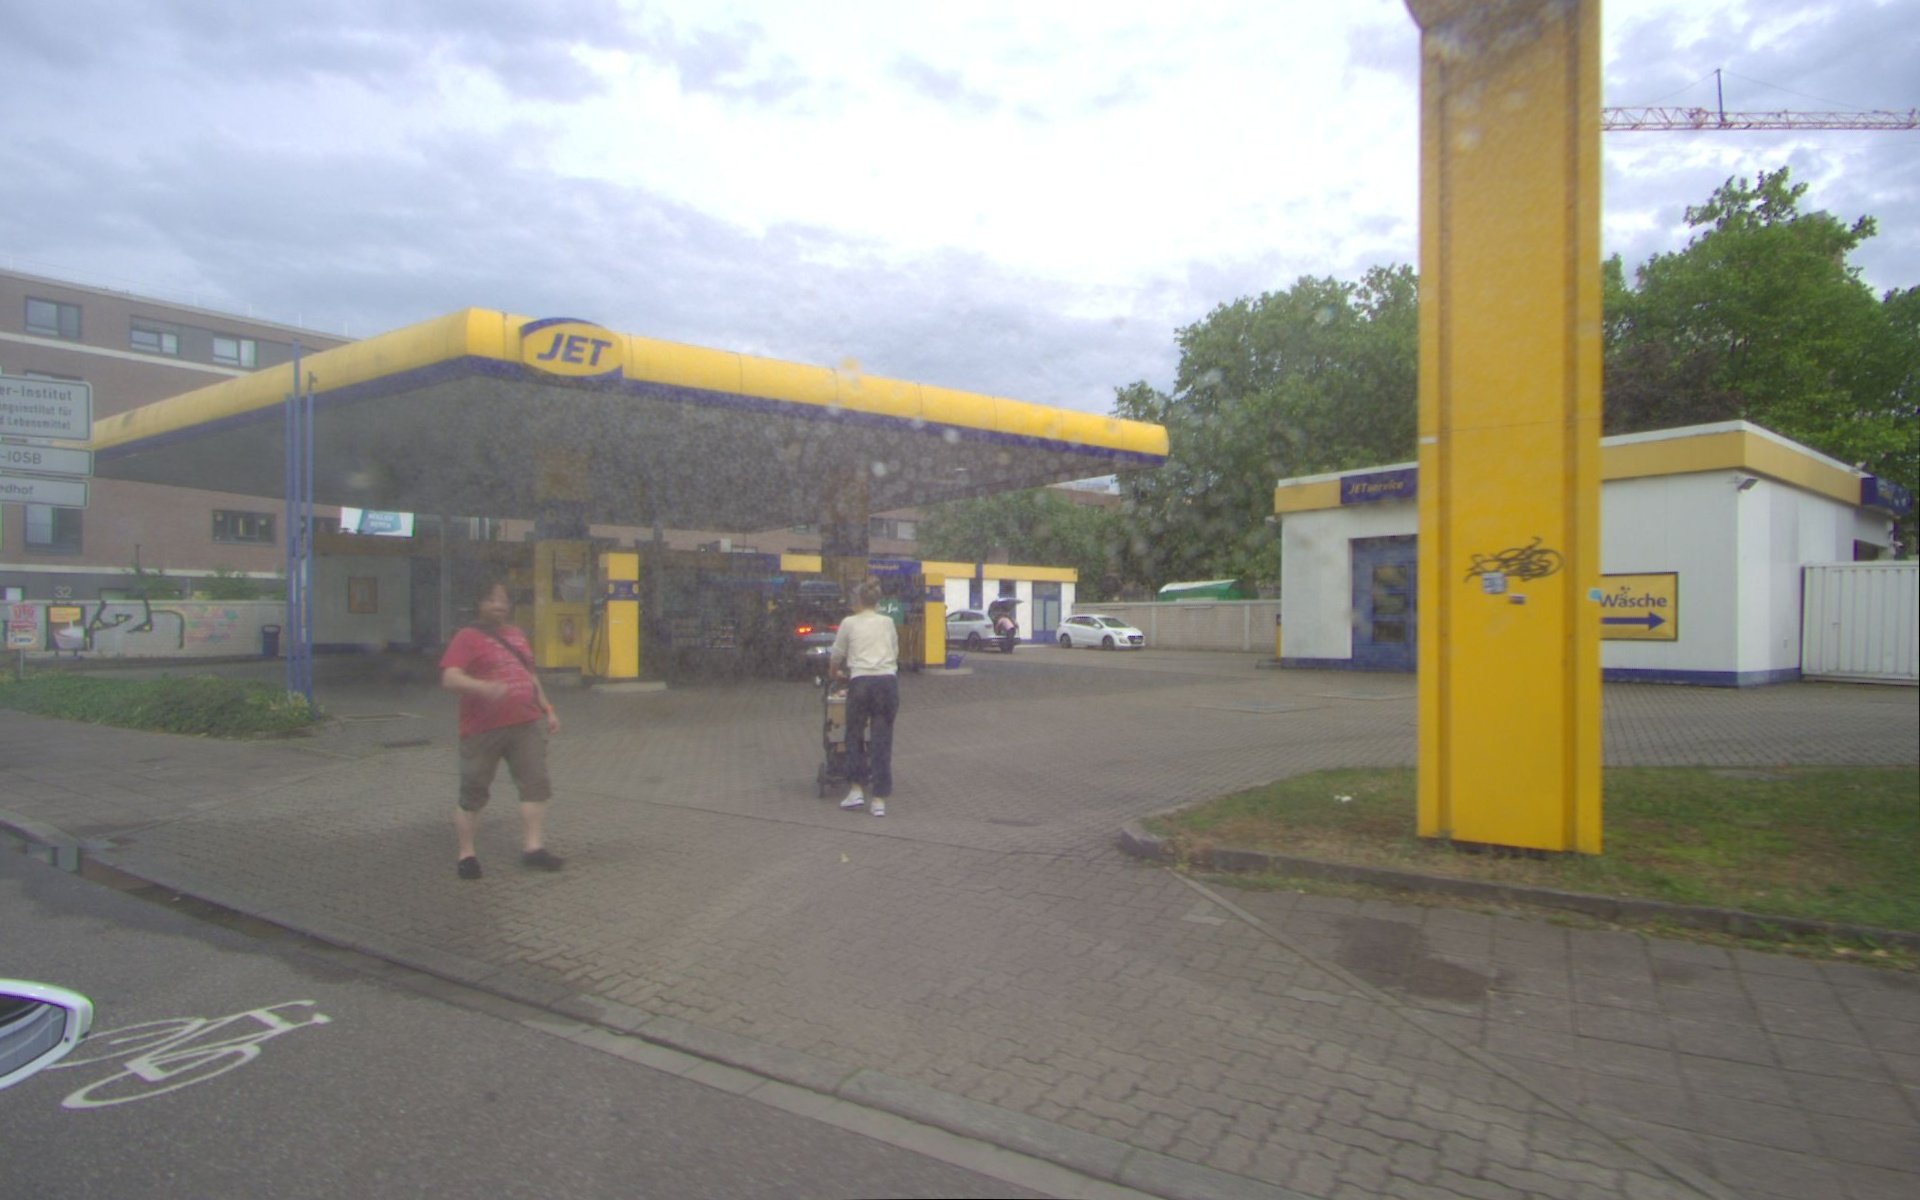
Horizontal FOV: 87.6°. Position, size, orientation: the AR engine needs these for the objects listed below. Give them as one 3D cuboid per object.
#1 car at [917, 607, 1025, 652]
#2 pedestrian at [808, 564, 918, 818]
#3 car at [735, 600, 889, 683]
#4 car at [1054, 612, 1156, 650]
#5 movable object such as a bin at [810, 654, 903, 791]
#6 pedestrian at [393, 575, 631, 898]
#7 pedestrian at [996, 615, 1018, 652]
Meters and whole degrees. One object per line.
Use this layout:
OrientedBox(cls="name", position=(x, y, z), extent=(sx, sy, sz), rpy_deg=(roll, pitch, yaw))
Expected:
OrientedBox(cls="car", position=(0.371, 1.206, 39.647), extent=(1.821, 1.658, 4.440), rpy_deg=(2, -3, -41))
OrientedBox(cls="pedestrian", position=(-0.722, 0.650, 7.799), extent=(0.755, 1.821, 1.161), rpy_deg=(-1, 1, -2))
OrientedBox(cls="car", position=(-3.214, 0.764, 20.961), extent=(1.966, 1.517, 4.307), rpy_deg=(0, 1, -27))
OrientedBox(cls="car", position=(6.212, 1.368, 43.272), extent=(1.915, 1.546, 4.303), rpy_deg=(2, -3, -37))
OrientedBox(cls="movable object such as a bin", position=(-0.884, 1.026, 8.700), extent=(0.755, 1.053, 1.023), rpy_deg=(0, 1, -4))
OrientedBox(cls="pedestrian", position=(-2.696, 0.745, 6.078), extent=(0.849, 1.762, 0.969), rpy_deg=(-1, 1, 31))
OrientedBox(cls="pedestrian", position=(1.788, 1.278, 37.966), extent=(0.573, 1.364, 0.607), rpy_deg=(2, -2, -37))
